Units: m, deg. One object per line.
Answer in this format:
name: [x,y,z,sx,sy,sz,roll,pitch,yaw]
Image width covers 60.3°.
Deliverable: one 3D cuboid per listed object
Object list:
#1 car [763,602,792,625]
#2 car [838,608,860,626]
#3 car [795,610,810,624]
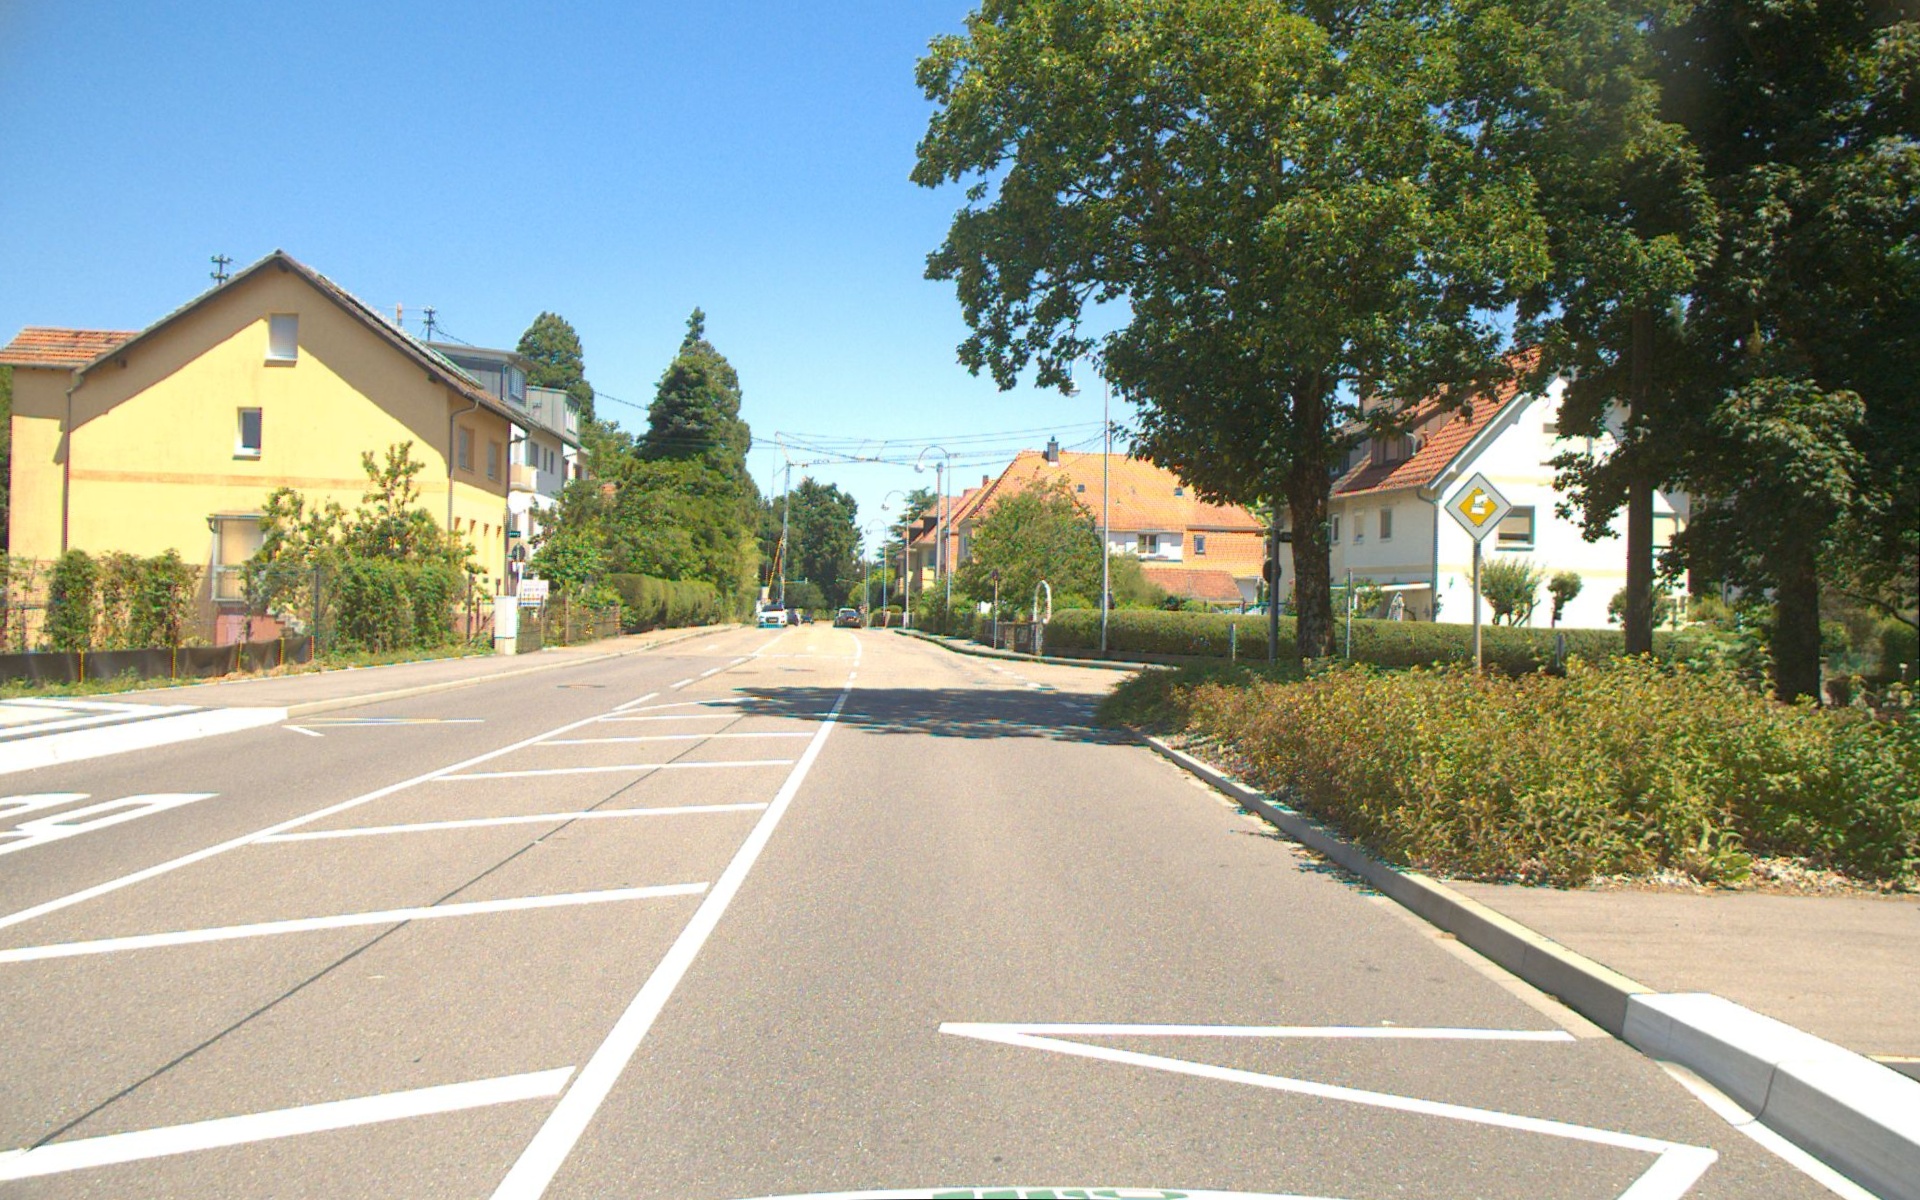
car: [-11.532,0.844,104.834,1.647,1.396,4.203,0,0,-4]
car: [-9.601,1.462,142.947,1.660,1.444,4.544,2,-2,-6]
car: [-23.461,2.498,246.210,1.954,1.882,4.708,2,1,-3]
